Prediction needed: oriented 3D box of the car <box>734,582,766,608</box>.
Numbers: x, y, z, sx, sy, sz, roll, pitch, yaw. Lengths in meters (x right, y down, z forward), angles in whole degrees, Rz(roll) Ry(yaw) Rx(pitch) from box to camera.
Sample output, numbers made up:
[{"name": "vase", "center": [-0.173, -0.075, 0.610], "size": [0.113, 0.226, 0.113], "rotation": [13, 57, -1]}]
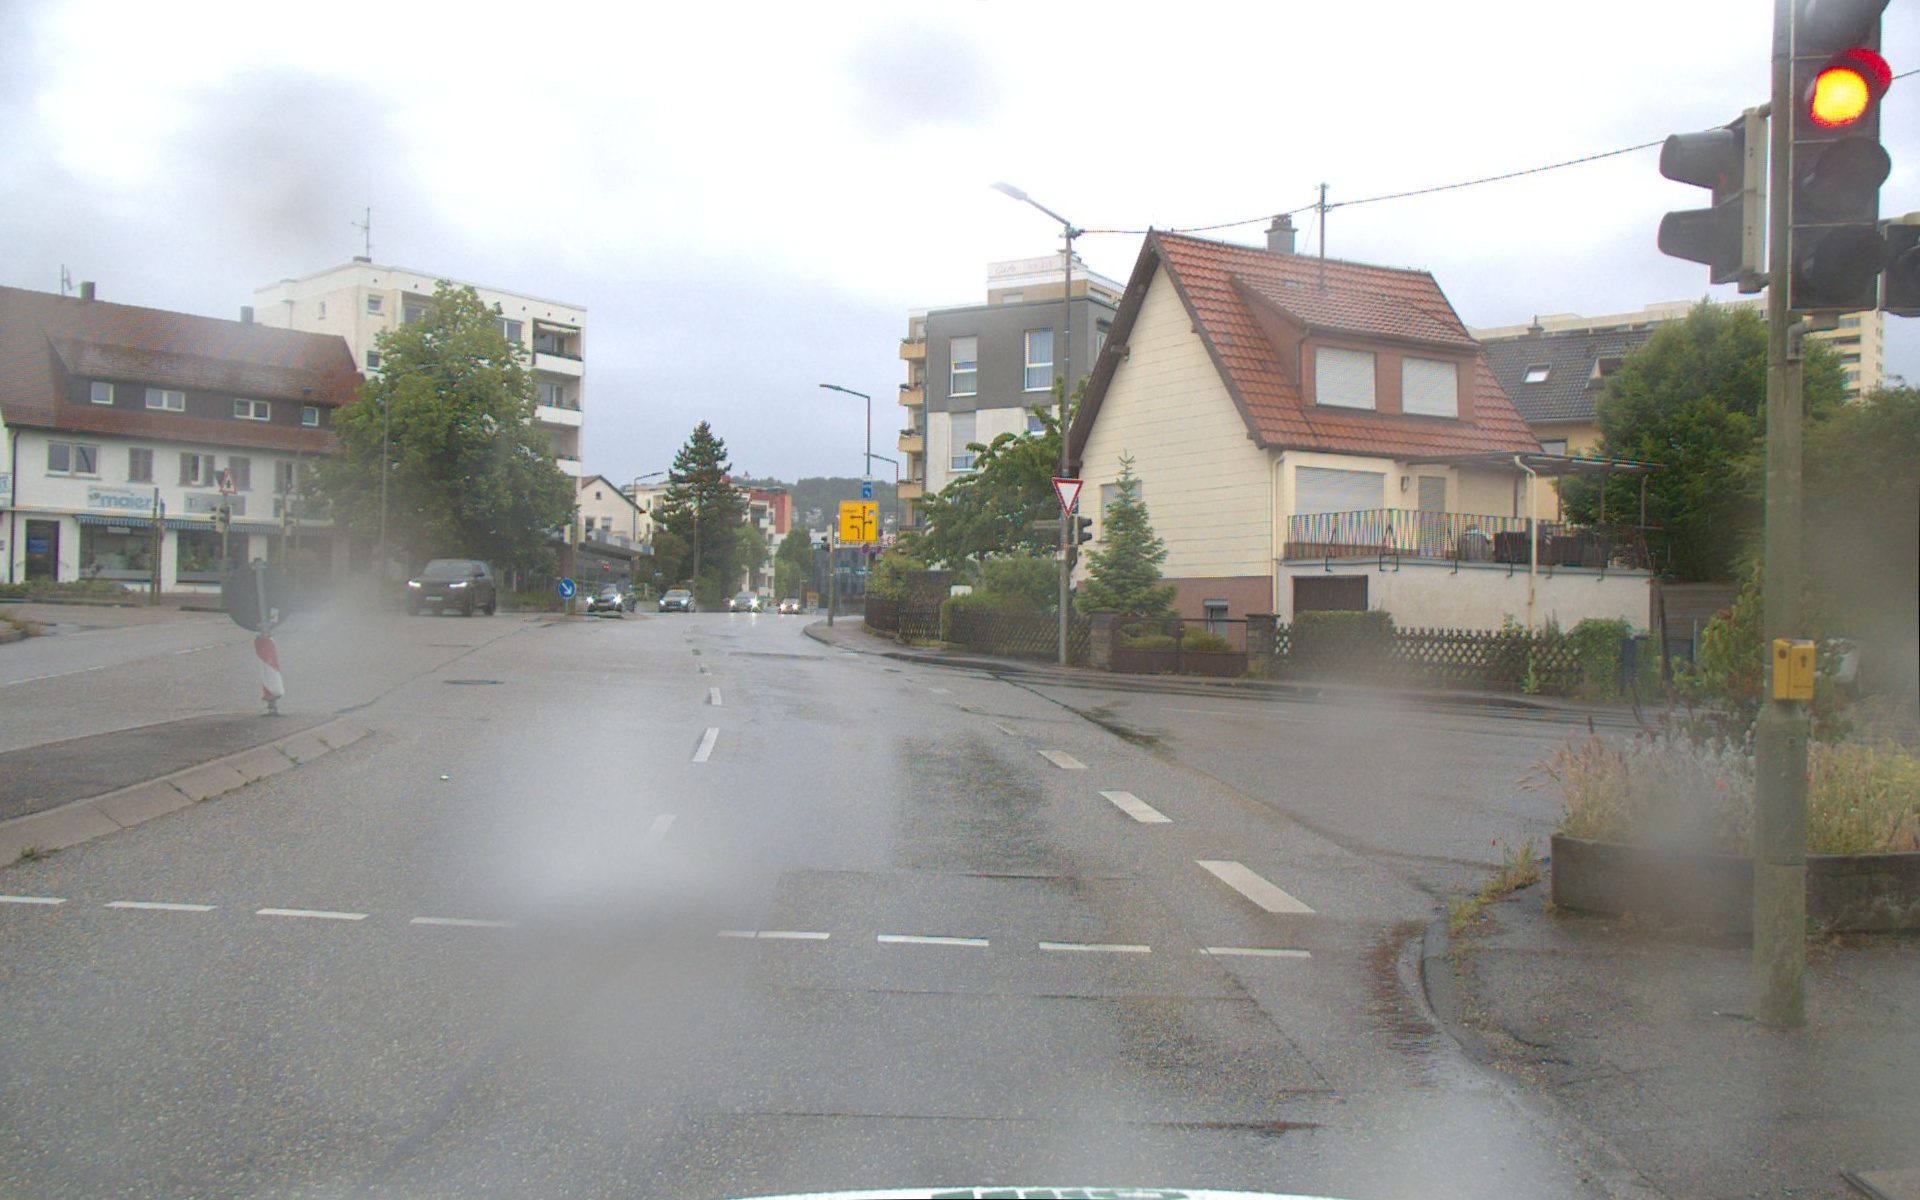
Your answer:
[{"name": "car", "center": [-14.140, -0.343, 111.549], "size": [1.955, 1.708, 3.995], "rotation": [1, 0, -5]}]

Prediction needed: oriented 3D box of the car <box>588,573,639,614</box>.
[{"name": "car", "center": [-16.893, -0.298, 80.695], "size": [1.955, 1.937, 3.995], "rotation": [1, 0, -5]}]

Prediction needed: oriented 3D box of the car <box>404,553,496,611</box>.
[{"name": "car", "center": [-16.658, -0.552, 54.288], "size": [1.956, 1.768, 5.173], "rotation": [1, 0, -7]}]

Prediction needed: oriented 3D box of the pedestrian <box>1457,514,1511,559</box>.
[{"name": "pedestrian", "center": [11.153, -1.341, 35.187], "size": [0.902, 0.898, 0.632], "rotation": [1, -2, -20]}]

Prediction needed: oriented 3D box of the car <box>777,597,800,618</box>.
[{"name": "car", "center": [-15.421, 0.643, 148.579], "size": [1.955, 1.843, 3.995], "rotation": [1, 0, -5]}]

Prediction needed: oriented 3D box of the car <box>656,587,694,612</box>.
[{"name": "car", "center": [-17.516, -0.028, 101.728], "size": [1.955, 1.489, 3.995], "rotation": [1, 0, -5]}]

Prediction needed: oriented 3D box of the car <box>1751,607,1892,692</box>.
[{"name": "car", "center": [15.623, 0.858, 29.886], "size": [1.780, 1.386, 3.986], "rotation": [1, 0, 35]}]
